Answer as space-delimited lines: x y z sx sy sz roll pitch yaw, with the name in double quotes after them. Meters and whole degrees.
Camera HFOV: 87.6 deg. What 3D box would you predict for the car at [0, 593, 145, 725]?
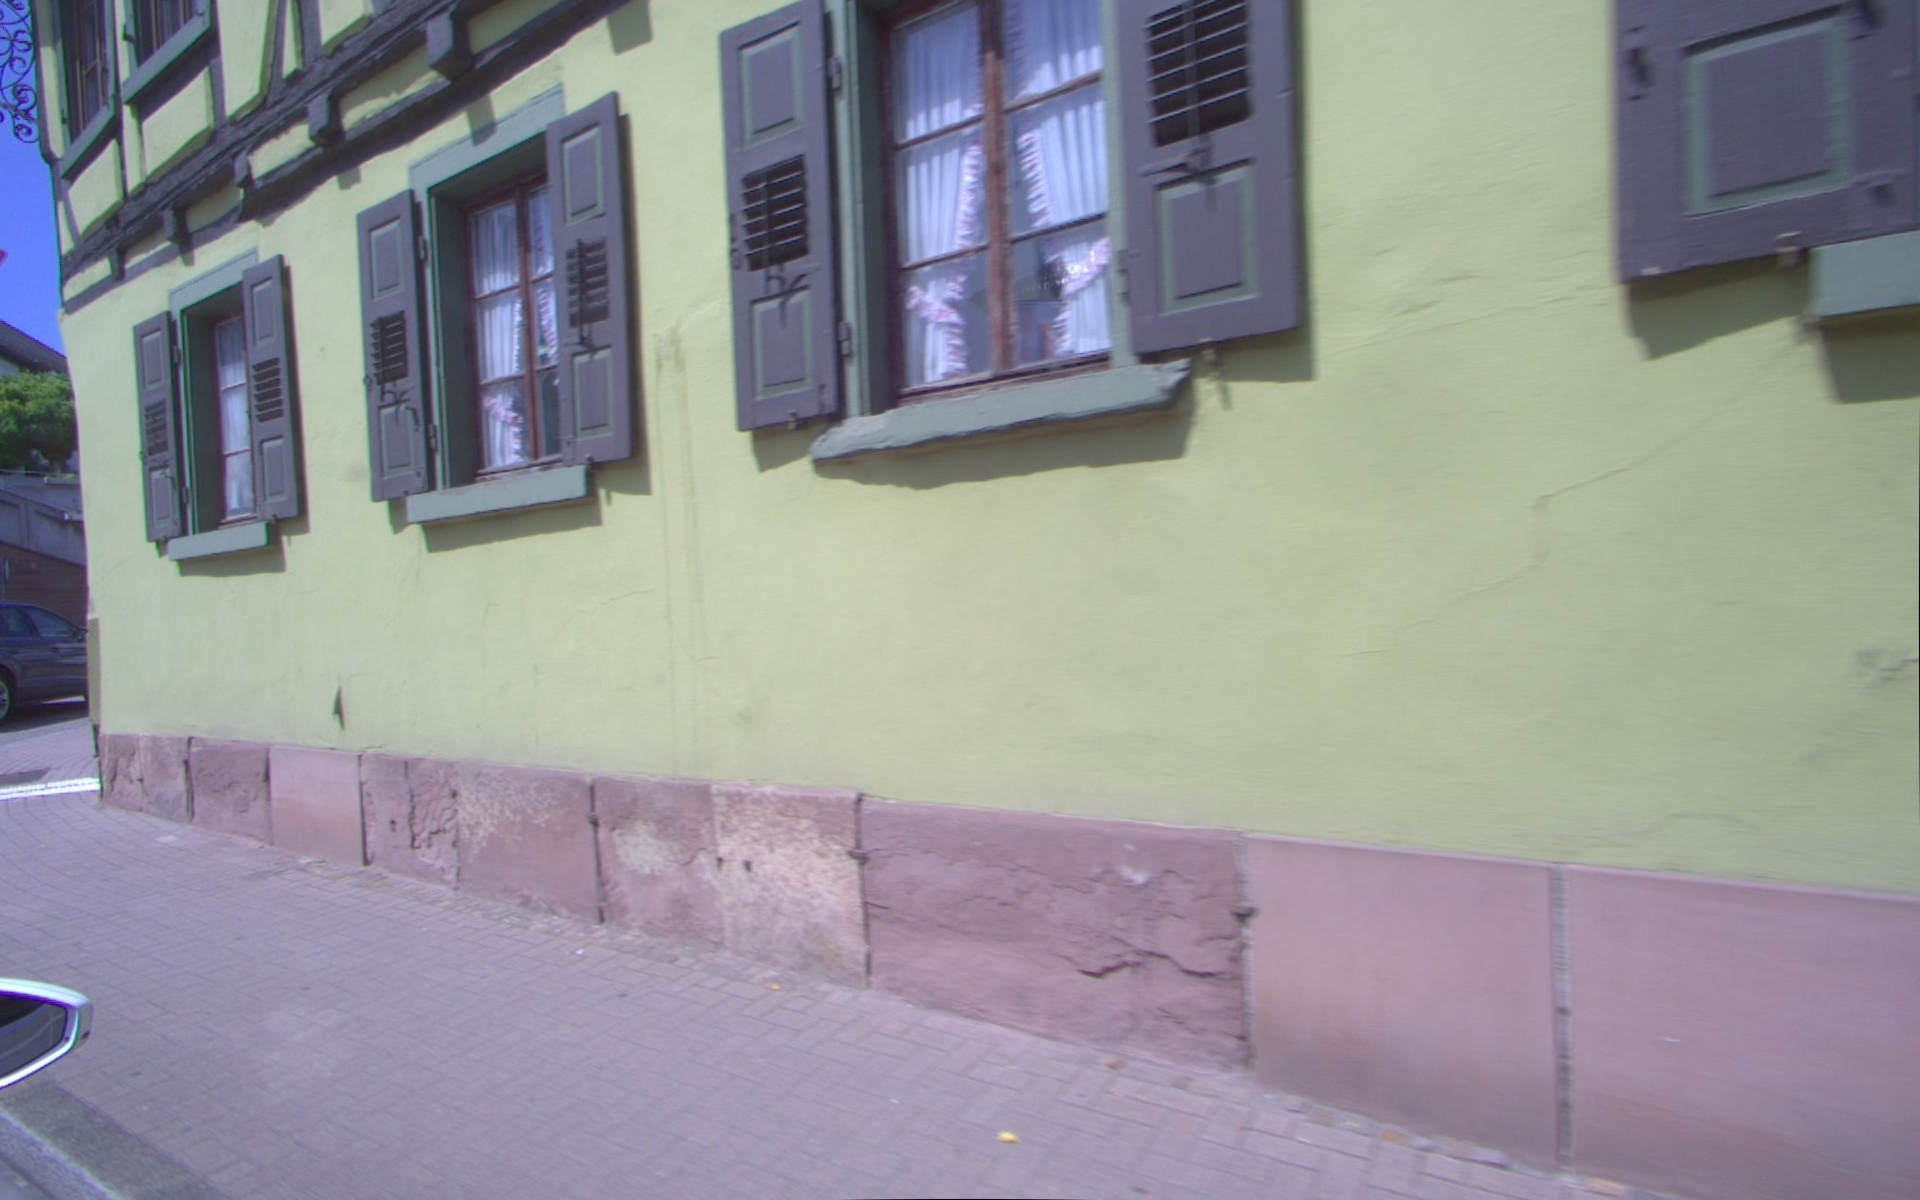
-13.490 0.752 13.776 1.920 1.604 4.317 1 1 -15 "car"
